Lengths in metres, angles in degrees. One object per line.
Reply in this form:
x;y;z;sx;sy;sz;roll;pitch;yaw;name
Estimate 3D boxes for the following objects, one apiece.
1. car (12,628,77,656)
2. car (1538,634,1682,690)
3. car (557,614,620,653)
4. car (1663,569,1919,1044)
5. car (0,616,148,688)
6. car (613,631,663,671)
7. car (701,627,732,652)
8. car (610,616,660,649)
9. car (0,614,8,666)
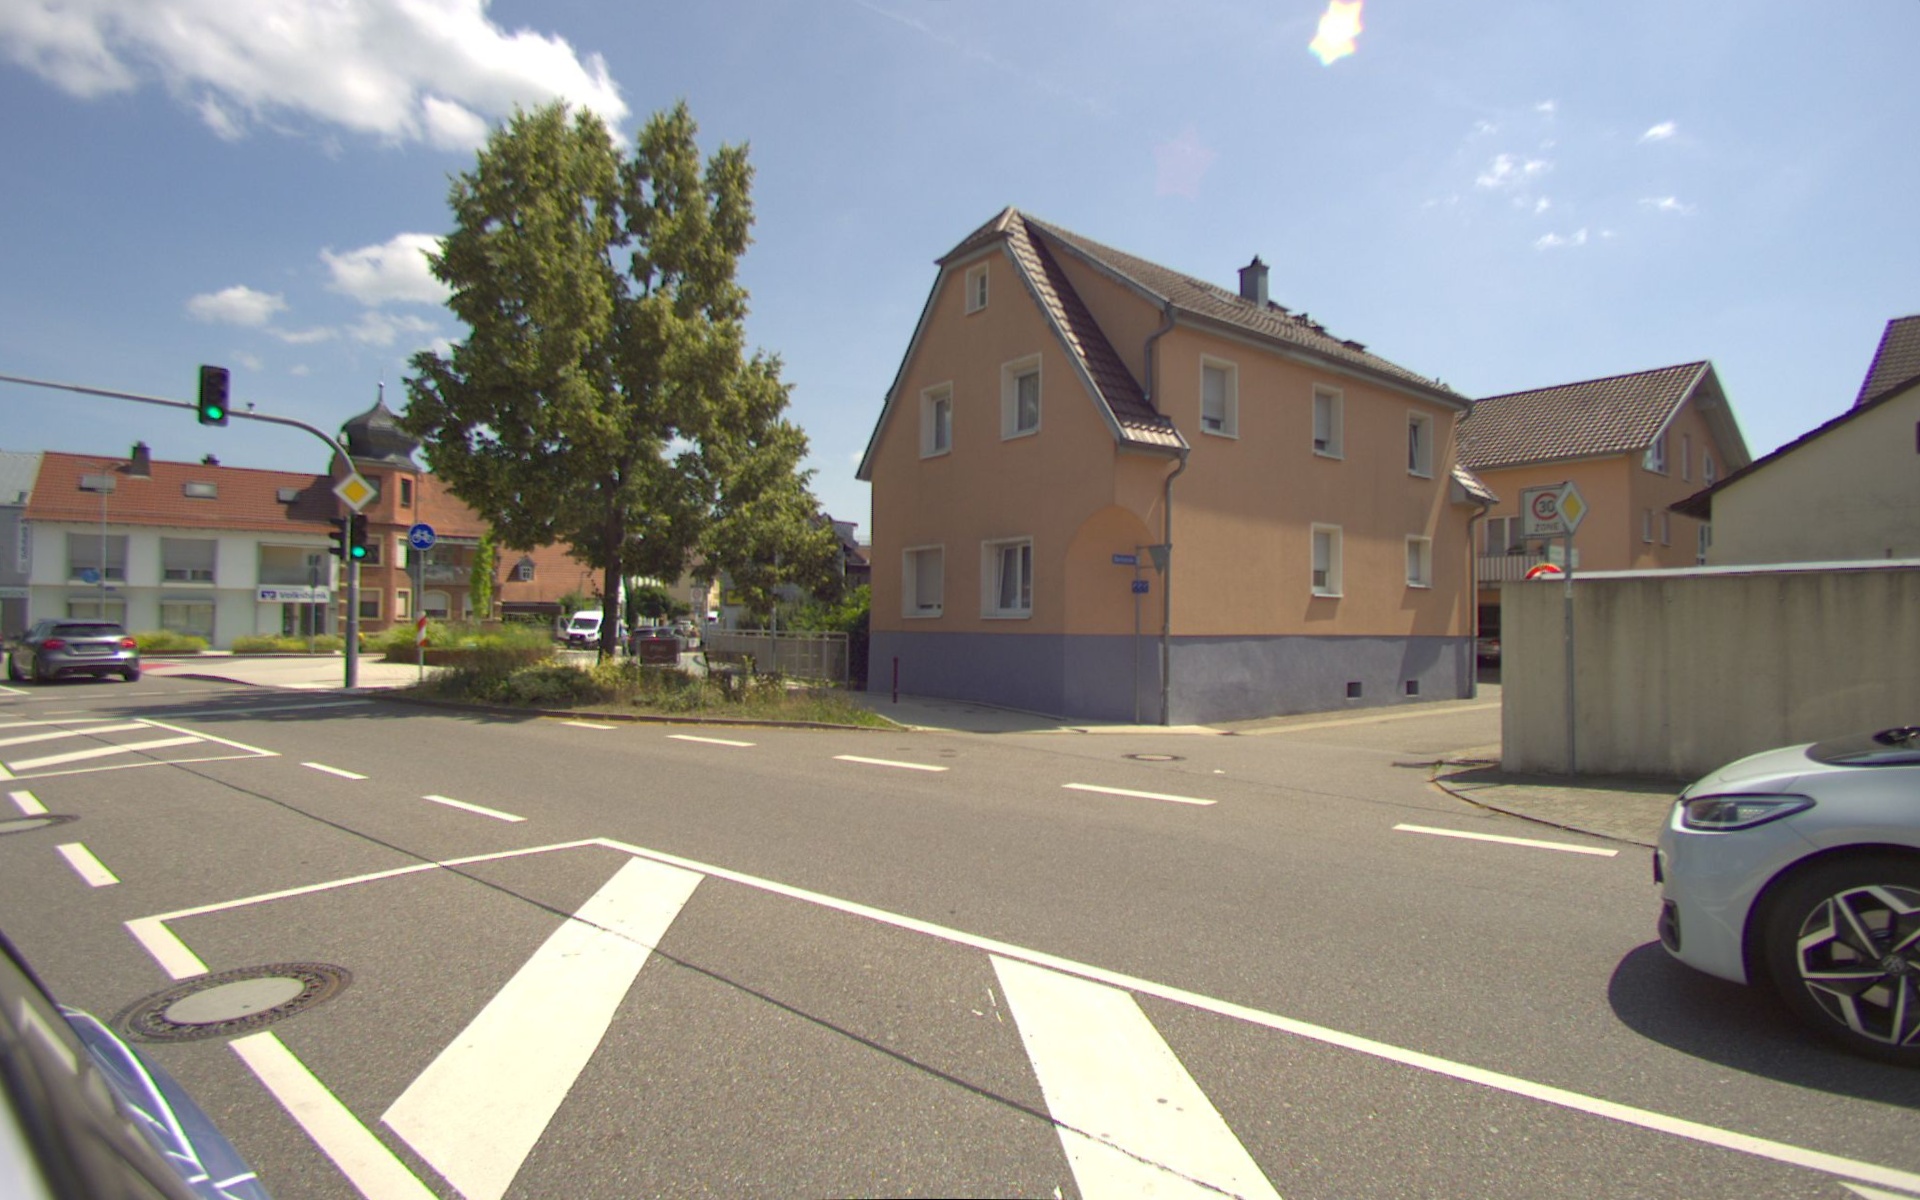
-54.554;2.521;60.396;1.966;1.587;4.265;2;-3;-30;car
23.607;2.229;36.872;1.968;1.852;4.007;3;-3;-39;car
-23.801;2.167;65.057;2.142;2.363;5.112;1;-2;-1;car
4.680;0.686;2.905;1.775;1.519;4.136;4;-3;-45;car
-20.189;1.142;22.934;4.212;1.453;1.845;0;-3;38;car
-16.881;2.666;53.289;1.968;2.029;4.008;1;-2;-10;car
-18.214;2.947;75.715;2.035;1.741;4.009;2;-2;-11;car
-24.414;2.483;76.242;2.142;2.363;5.112;1;-2;-1;car
-32.520;1.301;32.862;3.662;1.664;1.723;-1;-2;37;car
